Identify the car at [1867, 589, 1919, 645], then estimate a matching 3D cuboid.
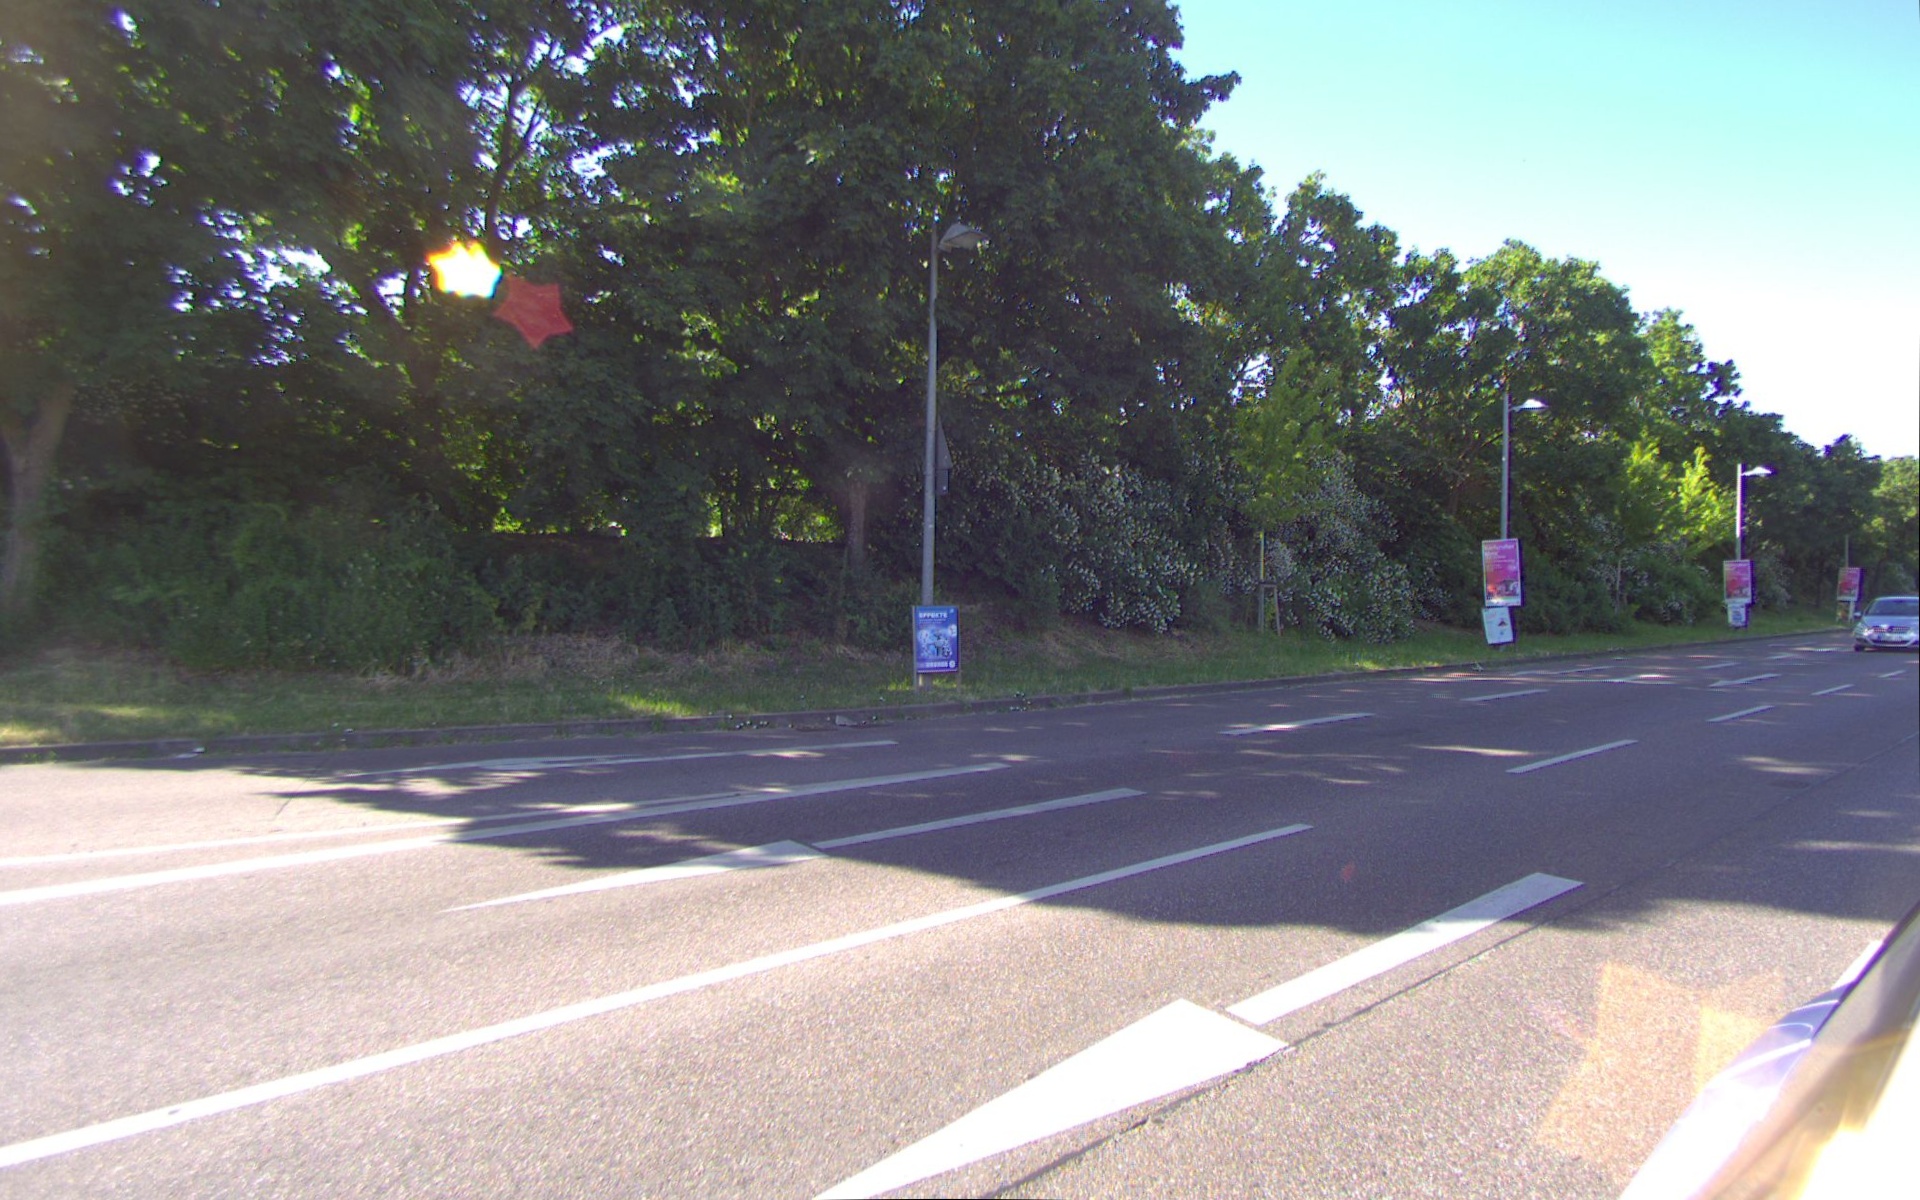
[{"bbox_3d":[28.286,0.477,29.839,3.987,1.560,1.672,0,-1,-39],"label":"car"}]
